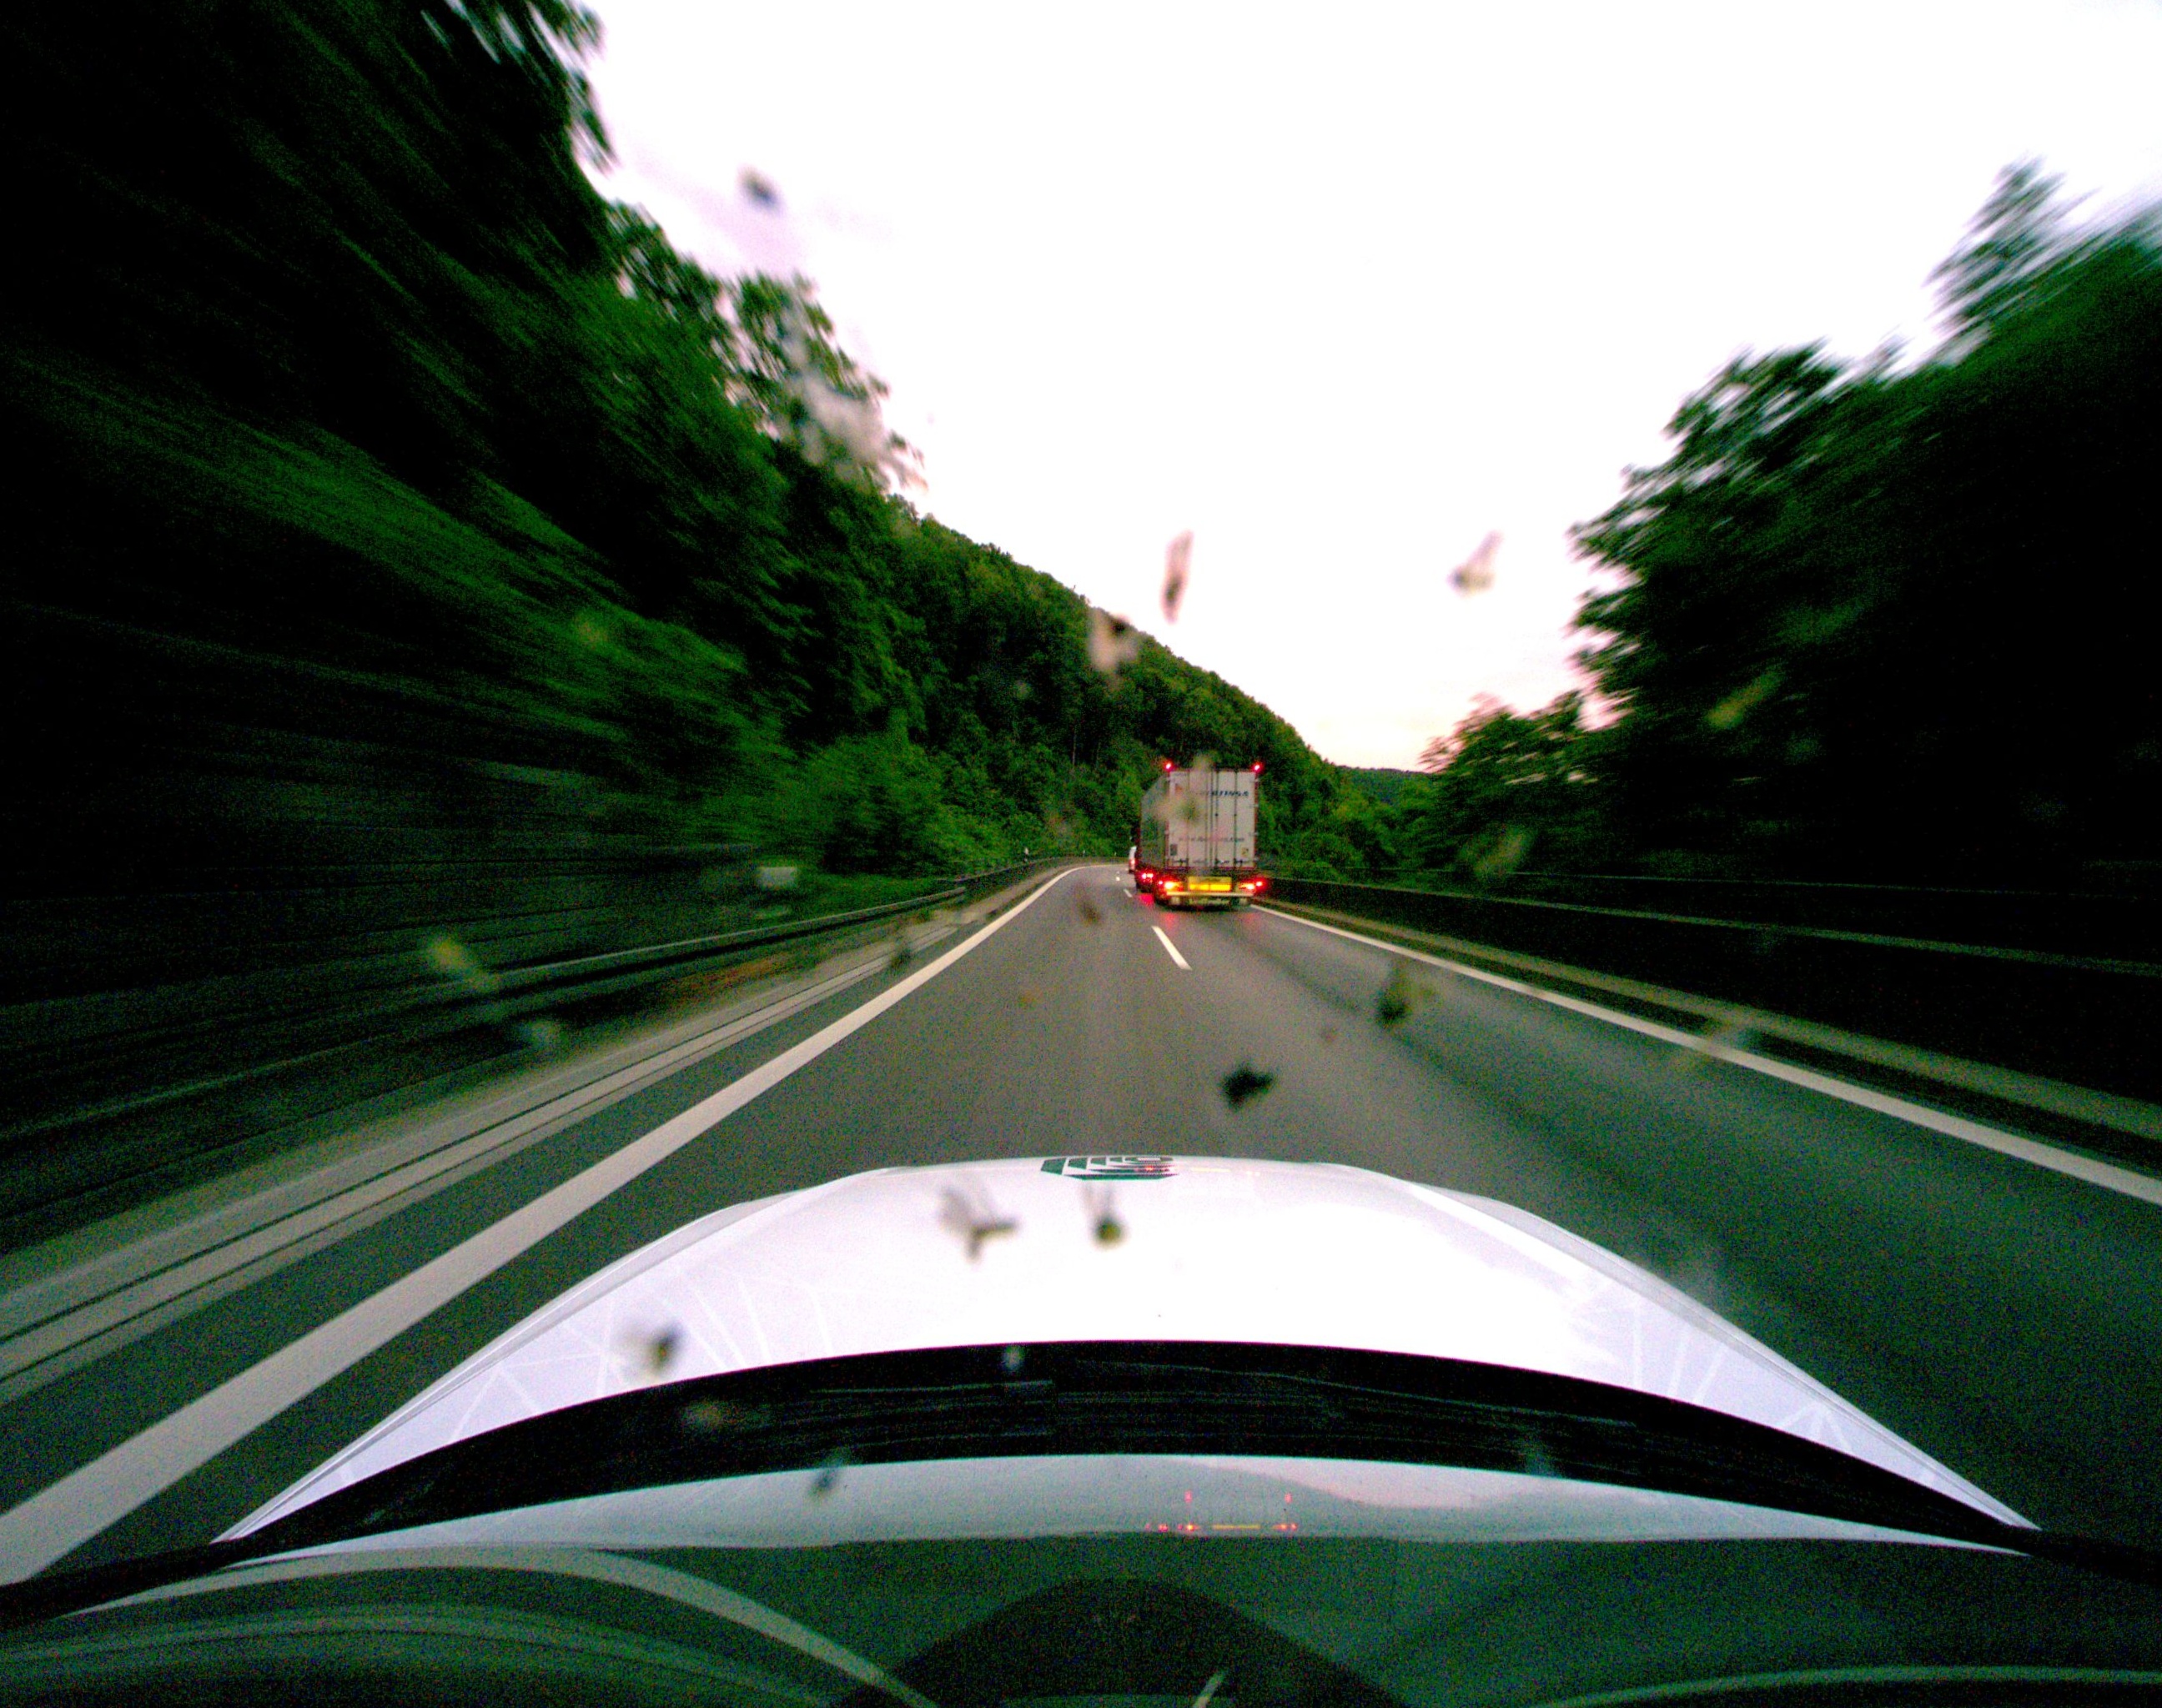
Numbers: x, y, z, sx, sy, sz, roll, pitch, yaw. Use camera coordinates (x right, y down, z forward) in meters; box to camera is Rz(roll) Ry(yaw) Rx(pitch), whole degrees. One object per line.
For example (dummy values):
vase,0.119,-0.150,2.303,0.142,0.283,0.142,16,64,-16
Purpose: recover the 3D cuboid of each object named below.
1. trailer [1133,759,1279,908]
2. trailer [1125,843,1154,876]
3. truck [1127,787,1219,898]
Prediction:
trailer,3.797,-0.544,28.830,3.087,3.970,14.217,0,0,0
trailer,4.921,0.394,68.220,2.045,2.374,5.947,6,1,5
truck,3.817,-0.435,35.358,3.059,4.144,6.447,5,0,1
